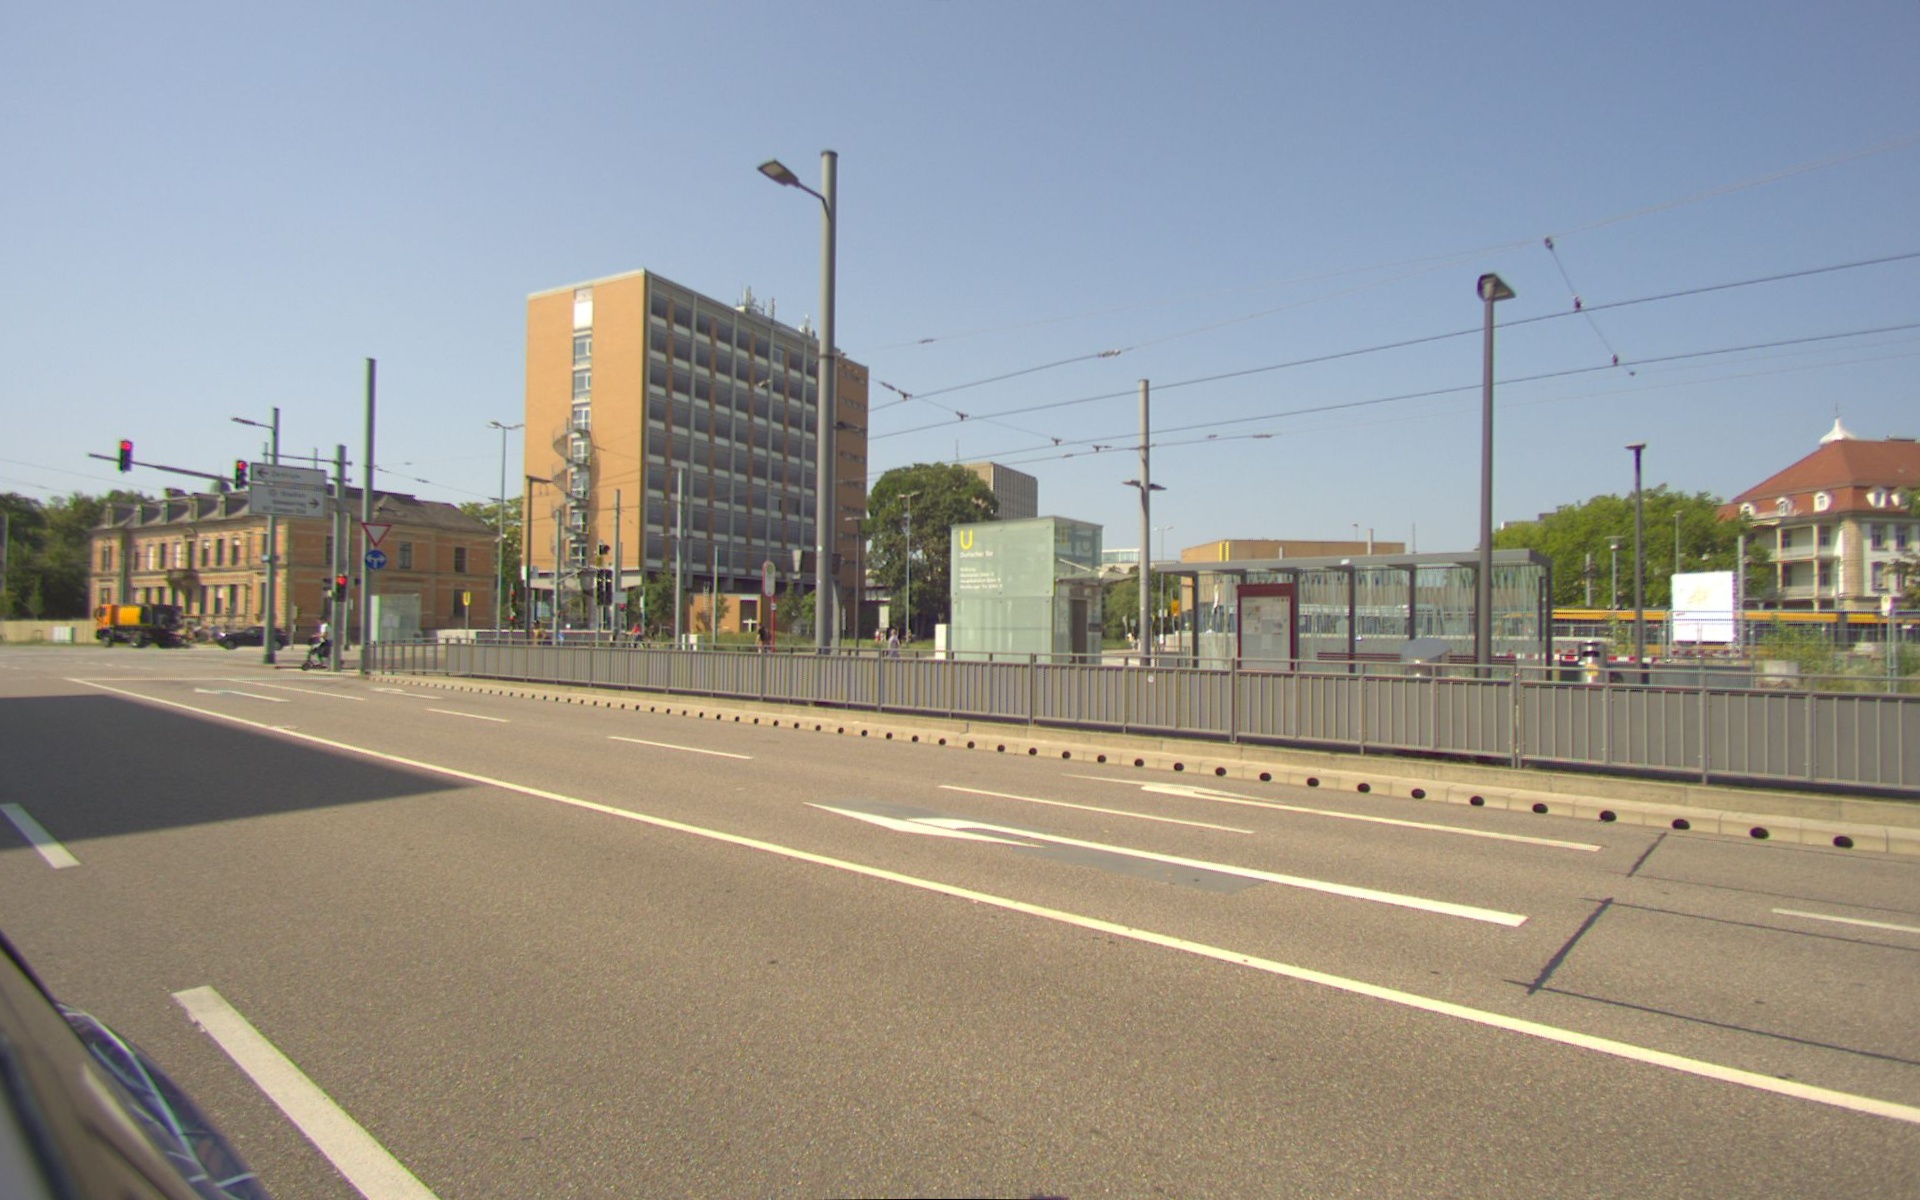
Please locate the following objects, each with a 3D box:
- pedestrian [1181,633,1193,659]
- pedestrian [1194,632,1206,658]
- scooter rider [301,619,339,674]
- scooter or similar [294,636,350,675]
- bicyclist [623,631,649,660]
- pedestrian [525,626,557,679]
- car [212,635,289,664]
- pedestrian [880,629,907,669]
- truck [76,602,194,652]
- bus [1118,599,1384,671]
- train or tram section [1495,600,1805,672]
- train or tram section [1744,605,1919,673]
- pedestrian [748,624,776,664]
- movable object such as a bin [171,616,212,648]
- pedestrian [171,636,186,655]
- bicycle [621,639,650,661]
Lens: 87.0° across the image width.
[{"bbox_3d":[15.059,3.074,67.098,0.579,1.689,0.578,-1,-4,-3],"label":"pedestrian"},{"bbox_3d":[15.937,2.964,67.141,0.579,1.689,0.578,-1,-4,-3],"label":"pedestrian"},{"bbox_3d":[-19.904,1.440,31.495,0.779,1.686,0.763,-1,-3,41],"label":"scooter rider"},{"bbox_3d":[-19.878,1.723,31.545,0.709,1.157,1.324,-1,-3,40],"label":"scooter or similar"},{"bbox_3d":[-16.509,2.327,51.608,0.980,1.470,0.865,-2,-3,45],"label":"bicyclist"},{"bbox_3d":[-13.499,1.685,32.626,0.796,1.672,0.570,-3,-4,23],"label":"pedestrian"},{"bbox_3d":[-46.826,3.257,66.877,3.931,1.808,2.006,1,-4,-30],"label":"car"},{"bbox_3d":[-3.057,2.236,46.503,0.959,1.793,0.774,0,-2,44],"label":"pedestrian"},{"bbox_3d":[-58.329,1.946,71.583,7.129,3.254,3.025,-2,-4,17],"label":"truck"},{"bbox_3d":[14.464,1.769,50.752,12.571,3.356,2.679,1,-2,-2],"label":"bus"},{"bbox_3d":[41.696,2.262,61.506,16.419,3.951,4.067,1,-4,-4],"label":"train or tram section"},{"bbox_3d":[58.147,2.534,62.707,16.419,3.951,4.067,1,-4,-4],"label":"train or tram section"},{"bbox_3d":[-8.940,1.982,45.723,0.959,1.793,0.774,0,-2,44],"label":"pedestrian"},{"bbox_3d":[-65.674,2.734,86.492,4.452,2.692,1.794,-2,-3,40],"label":"movable object such as a bin"},{"bbox_3d":[-58.550,3.415,75.843,0.803,1.362,0.720,3,-3,-41],"label":"pedestrian"},{"bbox_3d":[-16.572,2.564,51.691,1.914,1.077,0.606,-2,-3,45],"label":"bicycle"}]
